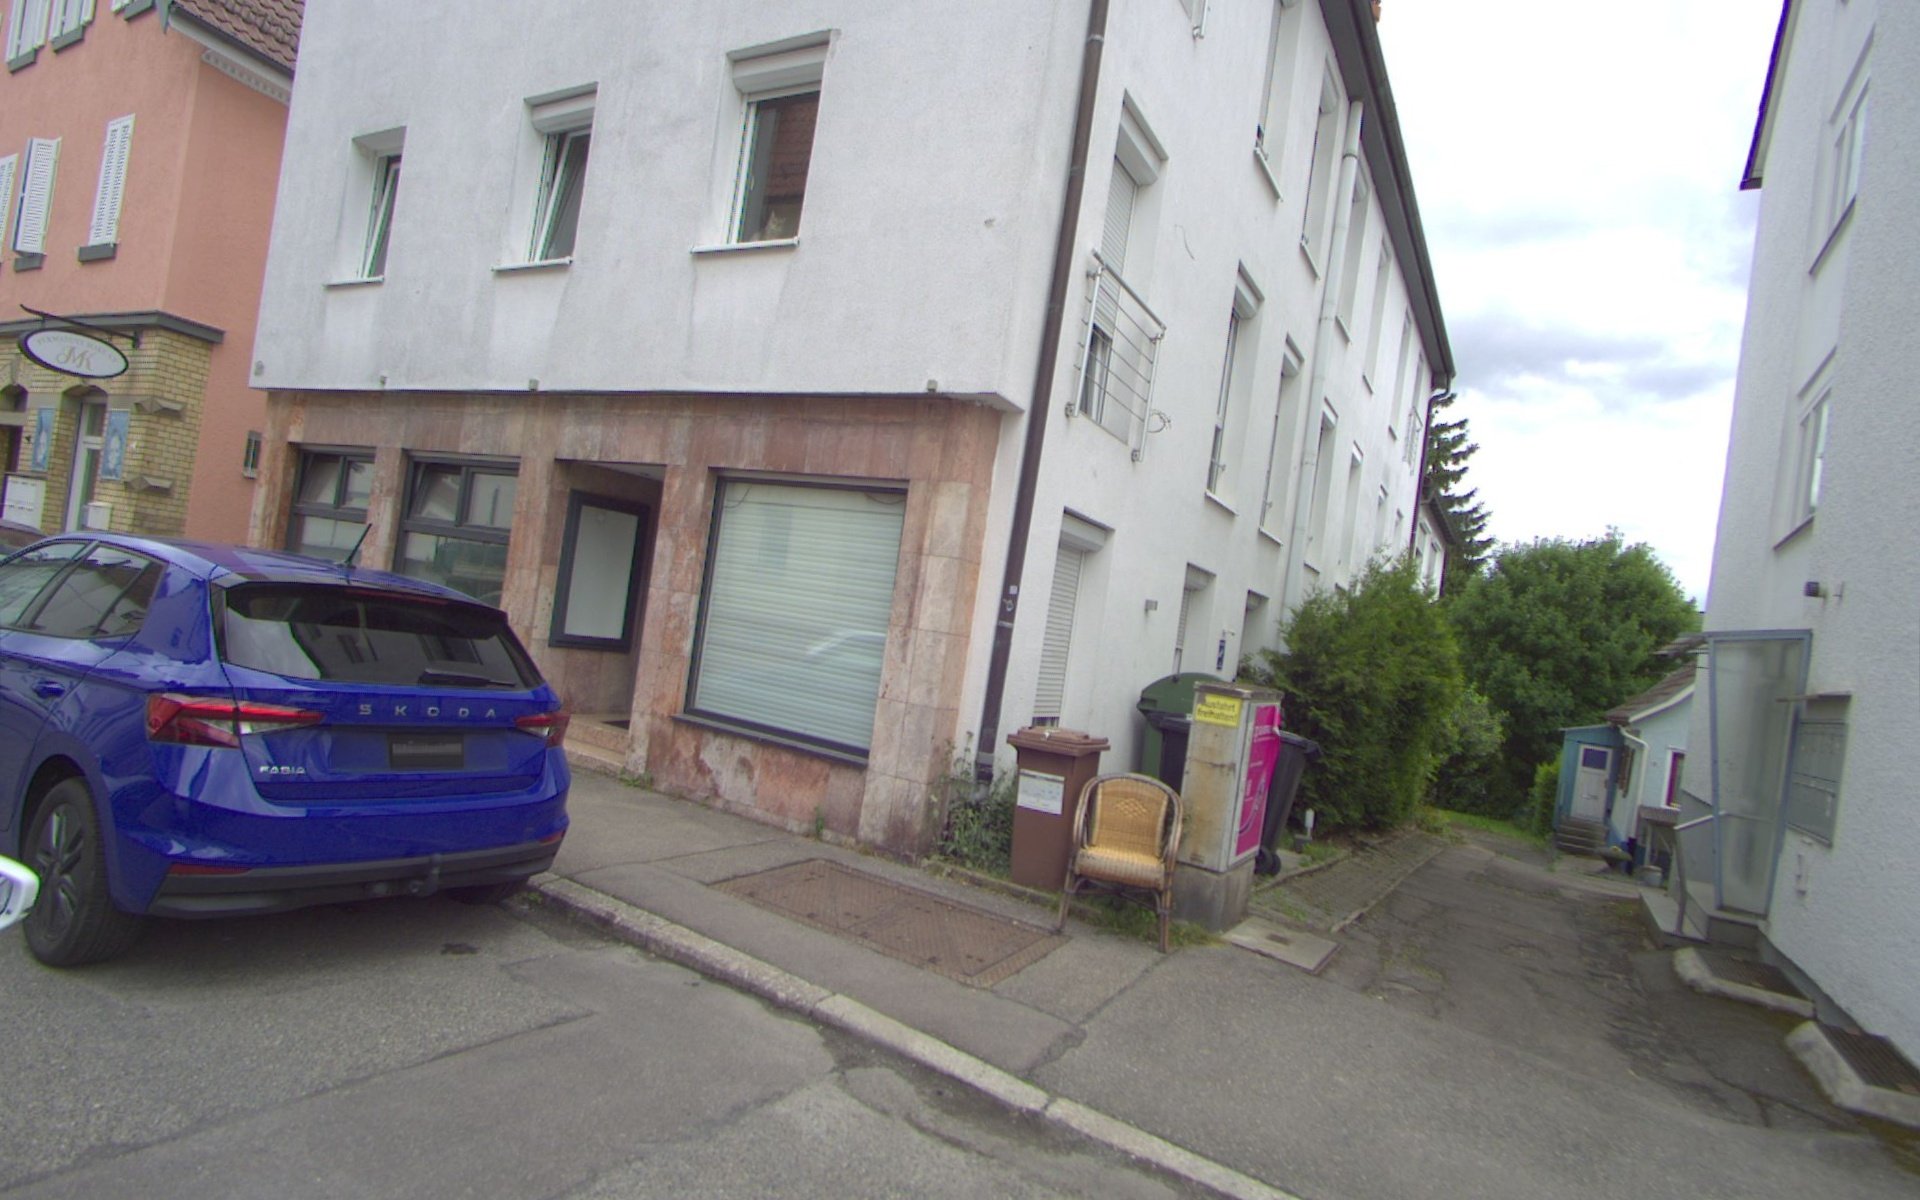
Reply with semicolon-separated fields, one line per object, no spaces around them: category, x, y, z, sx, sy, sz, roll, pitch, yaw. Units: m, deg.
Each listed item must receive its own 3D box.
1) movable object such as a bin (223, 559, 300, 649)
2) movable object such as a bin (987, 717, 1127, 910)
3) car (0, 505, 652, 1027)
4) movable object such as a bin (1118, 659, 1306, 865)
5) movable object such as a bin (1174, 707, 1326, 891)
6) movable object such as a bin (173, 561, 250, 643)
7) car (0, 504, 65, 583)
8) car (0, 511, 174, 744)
movable object such as a bin;-9.077;0.062;13.069;0.594;1.074;0.505;8;1;26
movable object such as a bin;0.566;1.197;5.814;0.513;0.942;0.569;8;2;31
car;-3.528;0.440;4.654;3.863;1.448;1.756;6;-3;31
movable object such as a bin;2.193;1.368;8.638;1.059;1.400;1.273;13;-2;27
movable object such as a bin;2.178;1.467;7.541;0.803;1.124;0.517;13;-1;27
movable object such as a bin;-9.345;0.030;12.567;0.537;0.935;0.505;8;1;26
car;-21.023;-1.426;20.532;1.643;1.495;3.630;8;-3;23
car;-7.975;-0.042;7.371;4.501;1.431;1.793;6;-5;30
